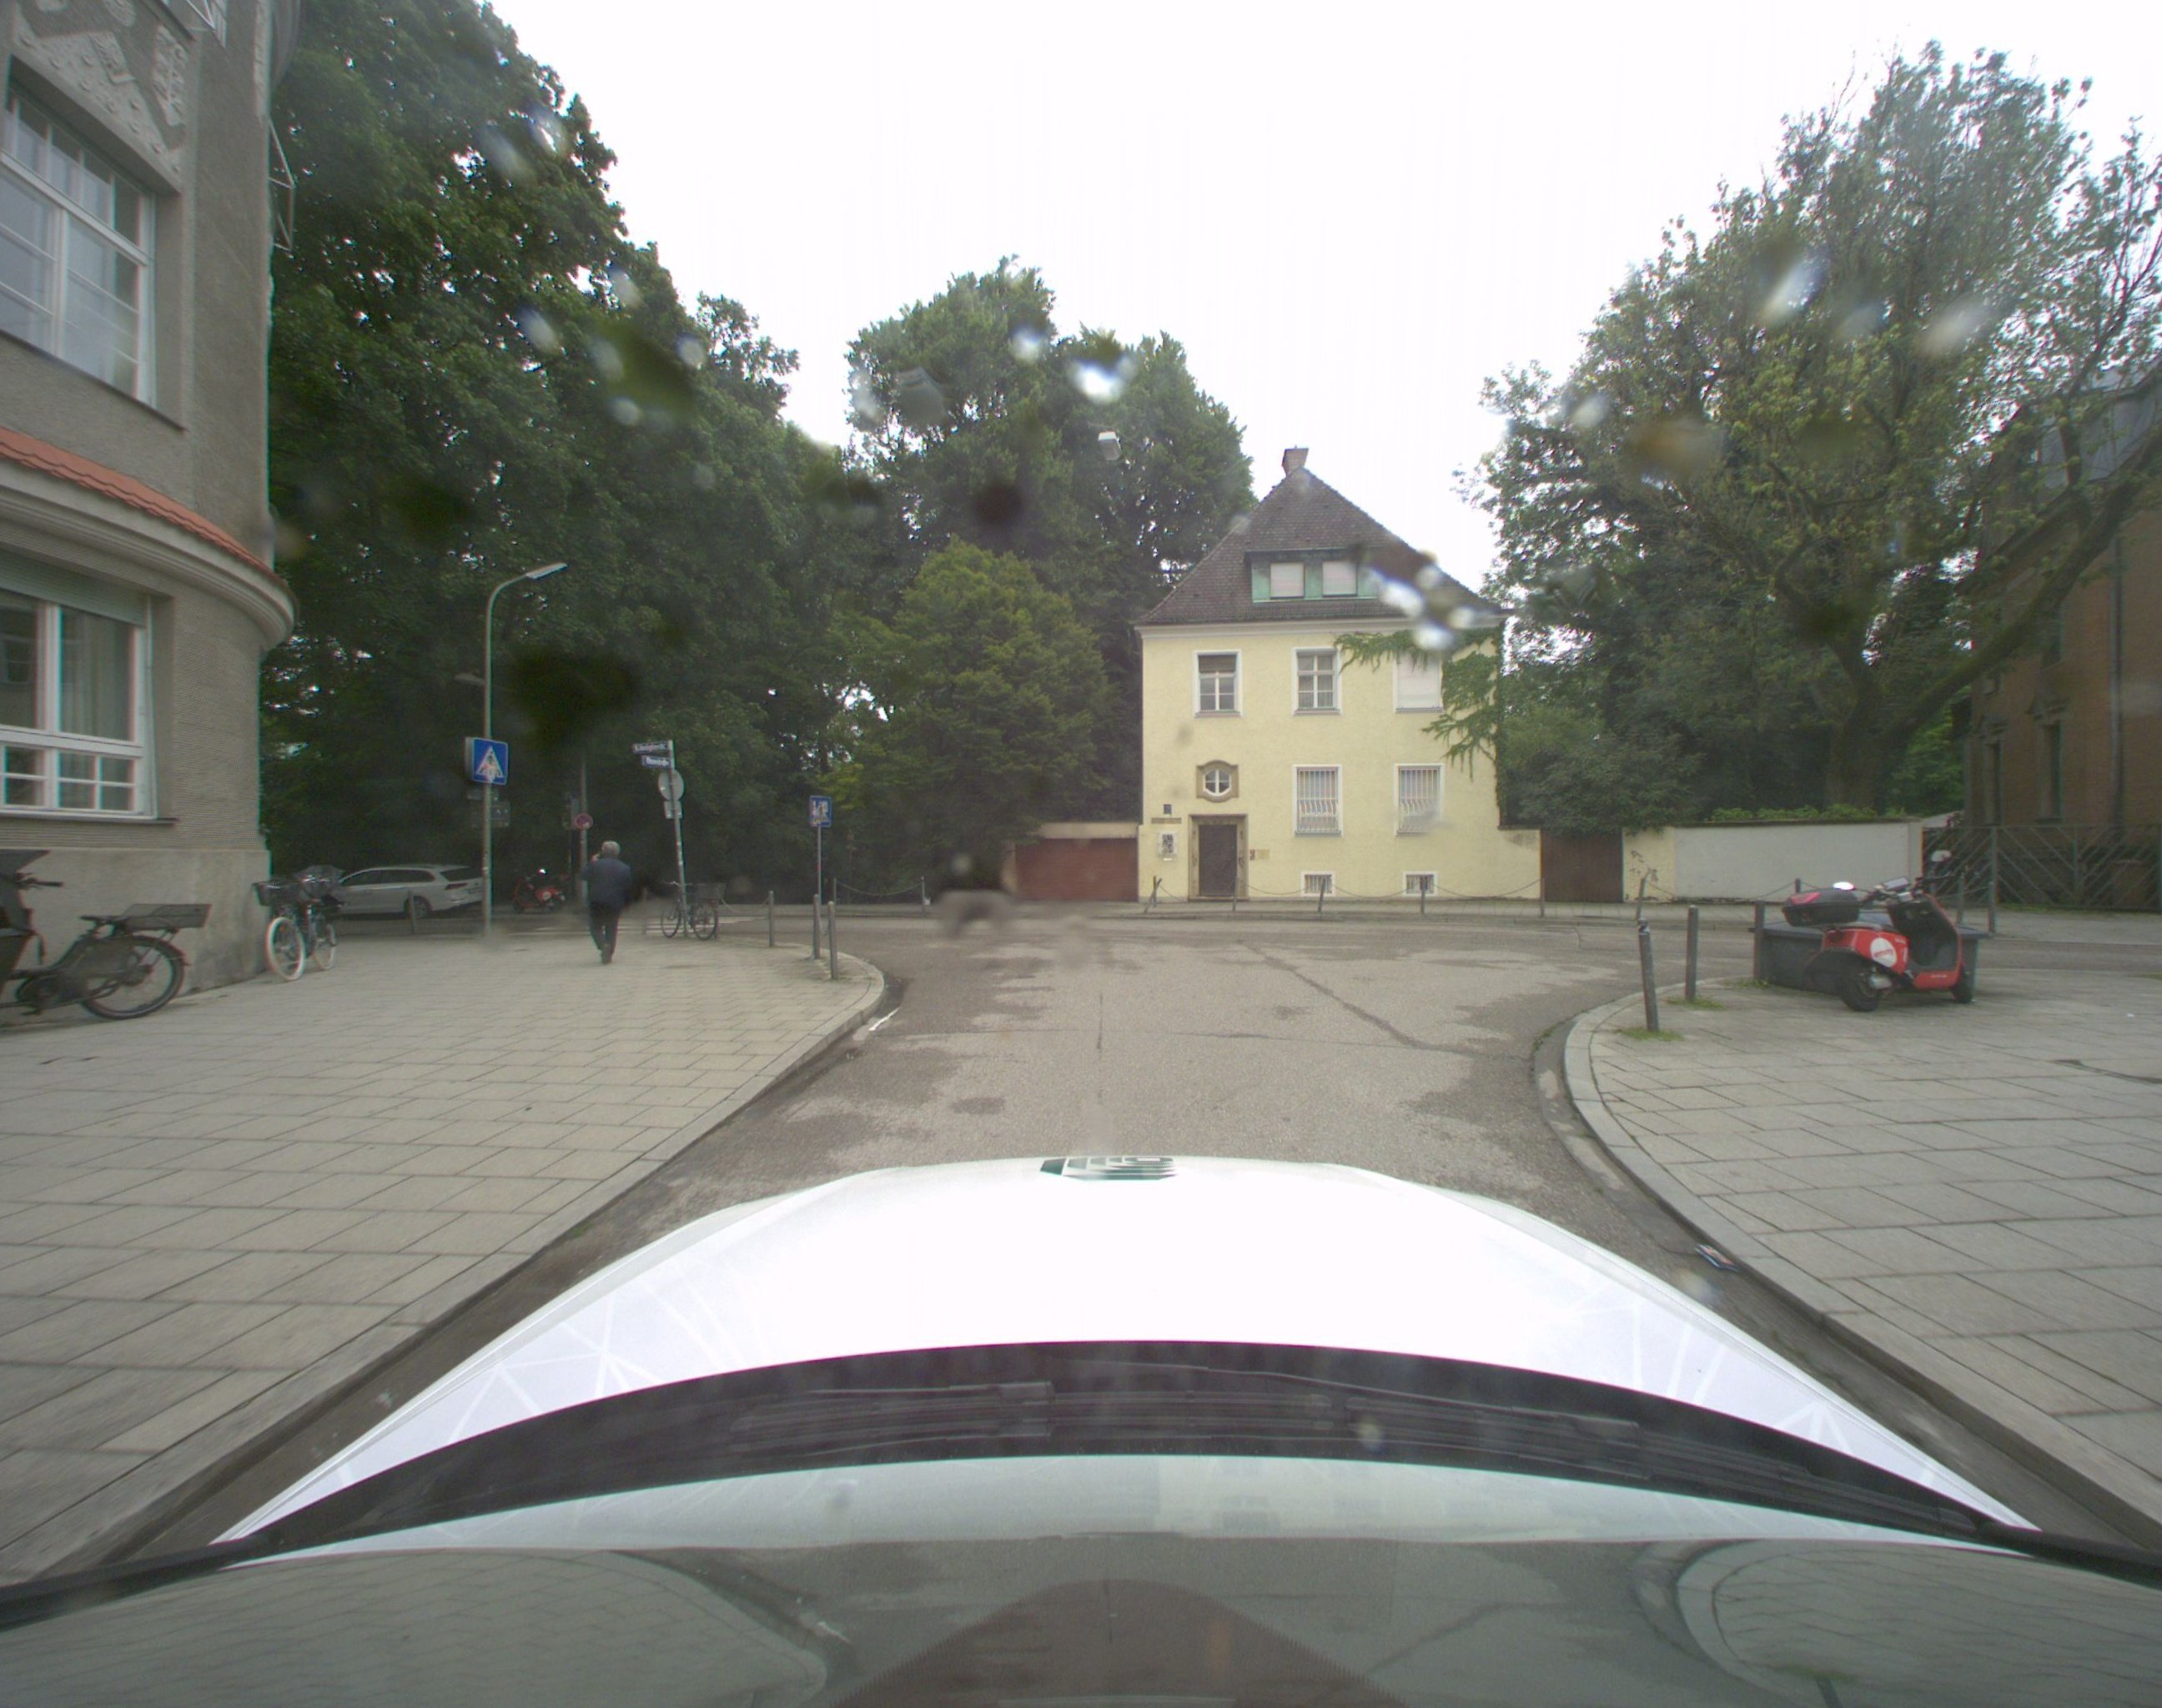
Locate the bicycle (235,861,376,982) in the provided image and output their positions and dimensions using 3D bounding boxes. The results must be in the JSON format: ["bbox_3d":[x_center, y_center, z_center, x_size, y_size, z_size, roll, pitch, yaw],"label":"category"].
[{"bbox_3d":[-8.996,0.714,9.542,0.740,1.256,1.908,0,0,-30],"label":"bicycle"}]

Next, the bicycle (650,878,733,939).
[{"bbox_3d":[-7.126,0.960,14.863,1.982,1.010,0.515,0,0,37],"label":"bicycle"}]

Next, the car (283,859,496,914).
[{"bbox_3d":[-19.330,0.887,22.913,4.412,1.448,1.622,0,0,-4],"label":"car"}]

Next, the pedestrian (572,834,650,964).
[{"bbox_3d":[-6.244,0.569,10.811,0.816,1.642,0.718,1,0,-36],"label":"pedestrian"}]

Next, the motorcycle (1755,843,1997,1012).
[{"bbox_3d":[7.172,0.597,7.345,2.086,1.356,0.811,0,0,-23],"label":"motorcycle"}]

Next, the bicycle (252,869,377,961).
[{"bbox_3d":[-10.435,0.801,11.076,1.902,1.157,0.568,0,-4,27],"label":"bicycle"}]

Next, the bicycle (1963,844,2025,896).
[{"bbox_3d":[22.551,0.383,20.144,0.529,1.219,2.096,0,0,35],"label":"bicycle"}]

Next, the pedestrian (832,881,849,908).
[{"bbox_3d":[-10.878,1.832,36.797,0.582,1.168,0.498,0,0,6],"label":"pedestrian"}]

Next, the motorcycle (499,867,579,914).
[{"bbox_3d":[-14.933,0.985,22.438,1.981,1.183,0.864,0,3,25],"label":"motorcycle"}]

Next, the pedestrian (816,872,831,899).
[{"bbox_3d":[-11.581,1.417,36.664,0.468,1.156,0.498,0,0,6],"label":"pedestrian"}]

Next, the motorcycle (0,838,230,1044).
[{"bbox_3d":[-7.929,0.608,6.152,0.733,1.441,2.146,0,0,0],"label":"motorcycle"}]
